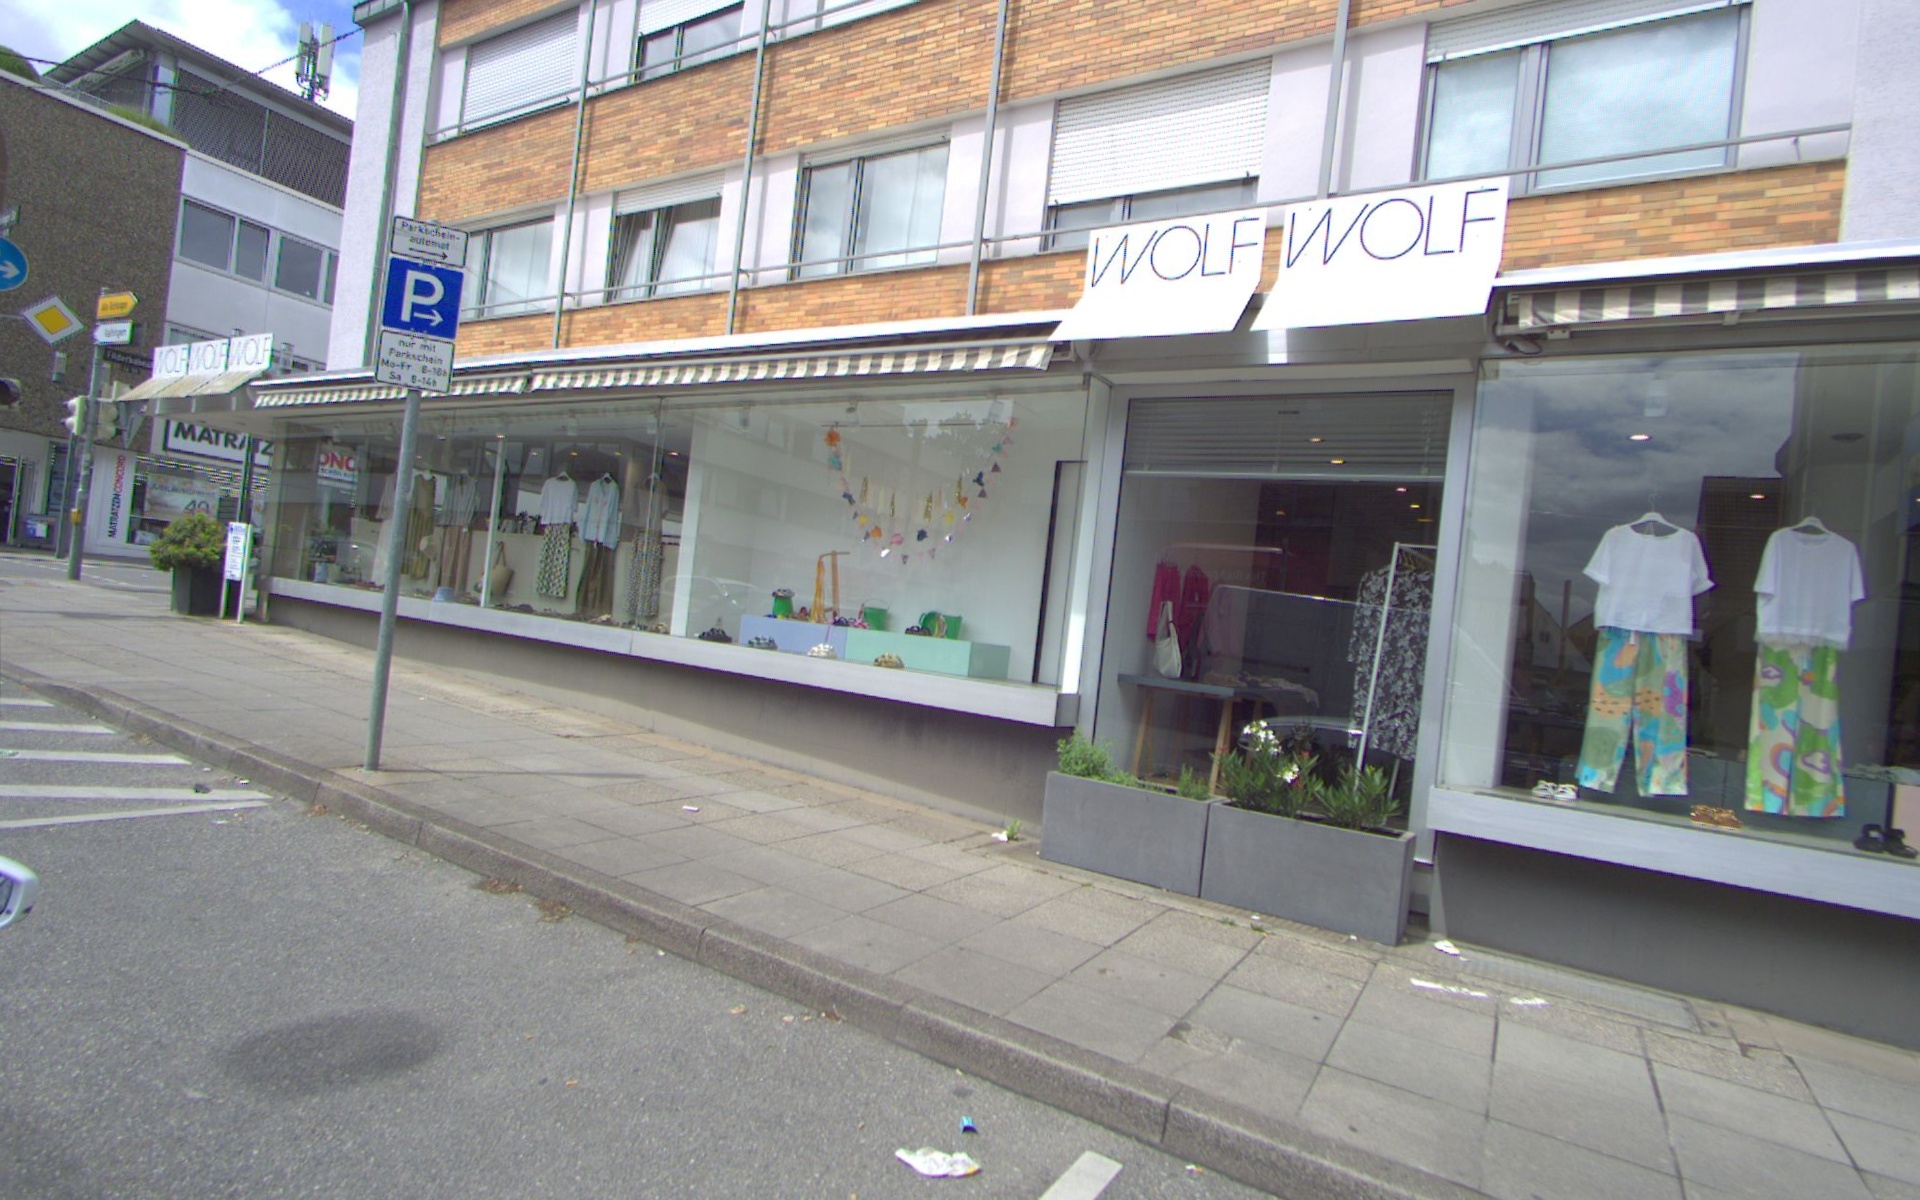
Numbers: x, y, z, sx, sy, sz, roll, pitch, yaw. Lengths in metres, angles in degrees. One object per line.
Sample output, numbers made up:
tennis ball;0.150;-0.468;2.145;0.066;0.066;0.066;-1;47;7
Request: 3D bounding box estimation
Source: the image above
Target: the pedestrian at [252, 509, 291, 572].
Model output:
pedestrian;-19.720;-1.685;28.821;0.608;1.728;0.580;6;2;0
